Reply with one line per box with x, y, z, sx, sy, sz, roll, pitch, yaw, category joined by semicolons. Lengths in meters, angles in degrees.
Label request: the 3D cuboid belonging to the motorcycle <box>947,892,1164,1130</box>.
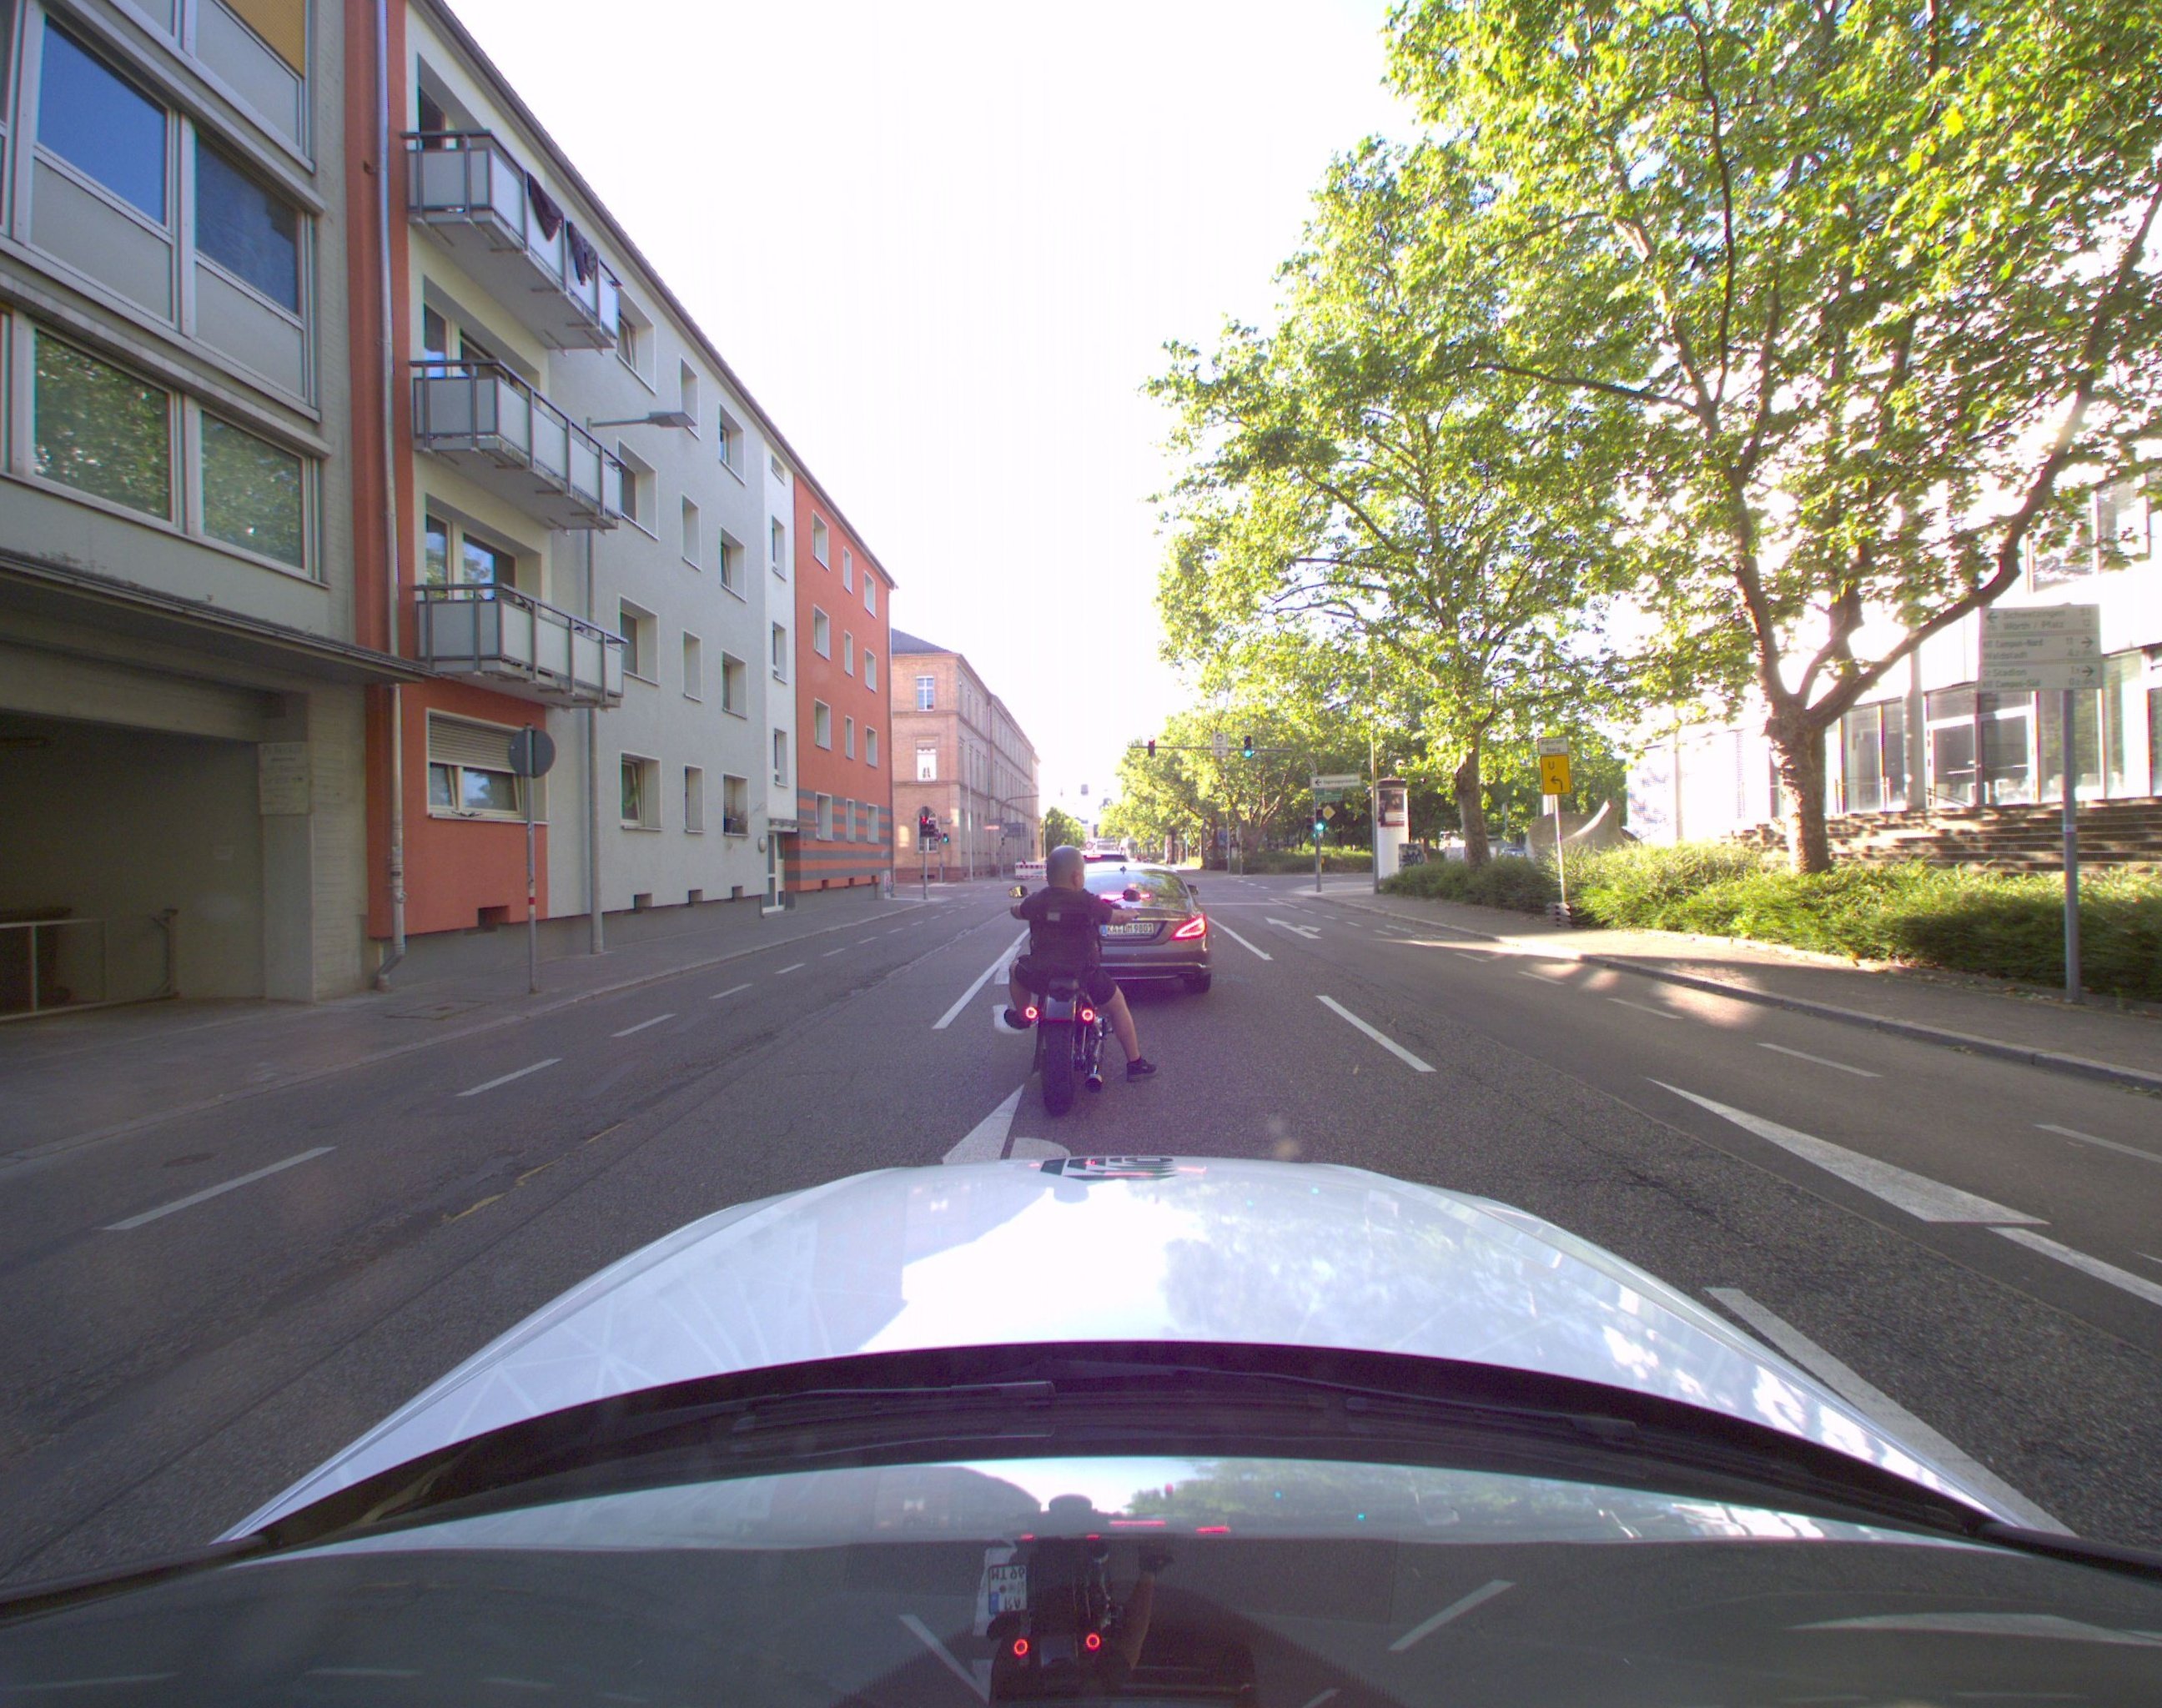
-0.040;0.913;5.615;1.111;1.207;2.217;-1;-1;8;motorcycle

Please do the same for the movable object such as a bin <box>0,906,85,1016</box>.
-11.283;1.119;8.639;0.533;1.079;0.723;0;-1;3;movable object such as a bin

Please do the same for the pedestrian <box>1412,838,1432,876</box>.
16.199;0.136;38.685;0.731;1.778;0.732;-1;-1;10;pedestrian

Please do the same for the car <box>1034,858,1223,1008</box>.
0.522;0.781;9.771;1.815;1.437;3.807;0;-1;2;car

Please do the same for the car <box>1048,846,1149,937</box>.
0.382;0.712;17.060;1.856;1.678;4.001;0;-1;2;car

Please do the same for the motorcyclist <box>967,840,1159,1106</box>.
-0.068;0.706;5.396;1.093;1.566;1.074;-1;-1;8;motorcyclist
